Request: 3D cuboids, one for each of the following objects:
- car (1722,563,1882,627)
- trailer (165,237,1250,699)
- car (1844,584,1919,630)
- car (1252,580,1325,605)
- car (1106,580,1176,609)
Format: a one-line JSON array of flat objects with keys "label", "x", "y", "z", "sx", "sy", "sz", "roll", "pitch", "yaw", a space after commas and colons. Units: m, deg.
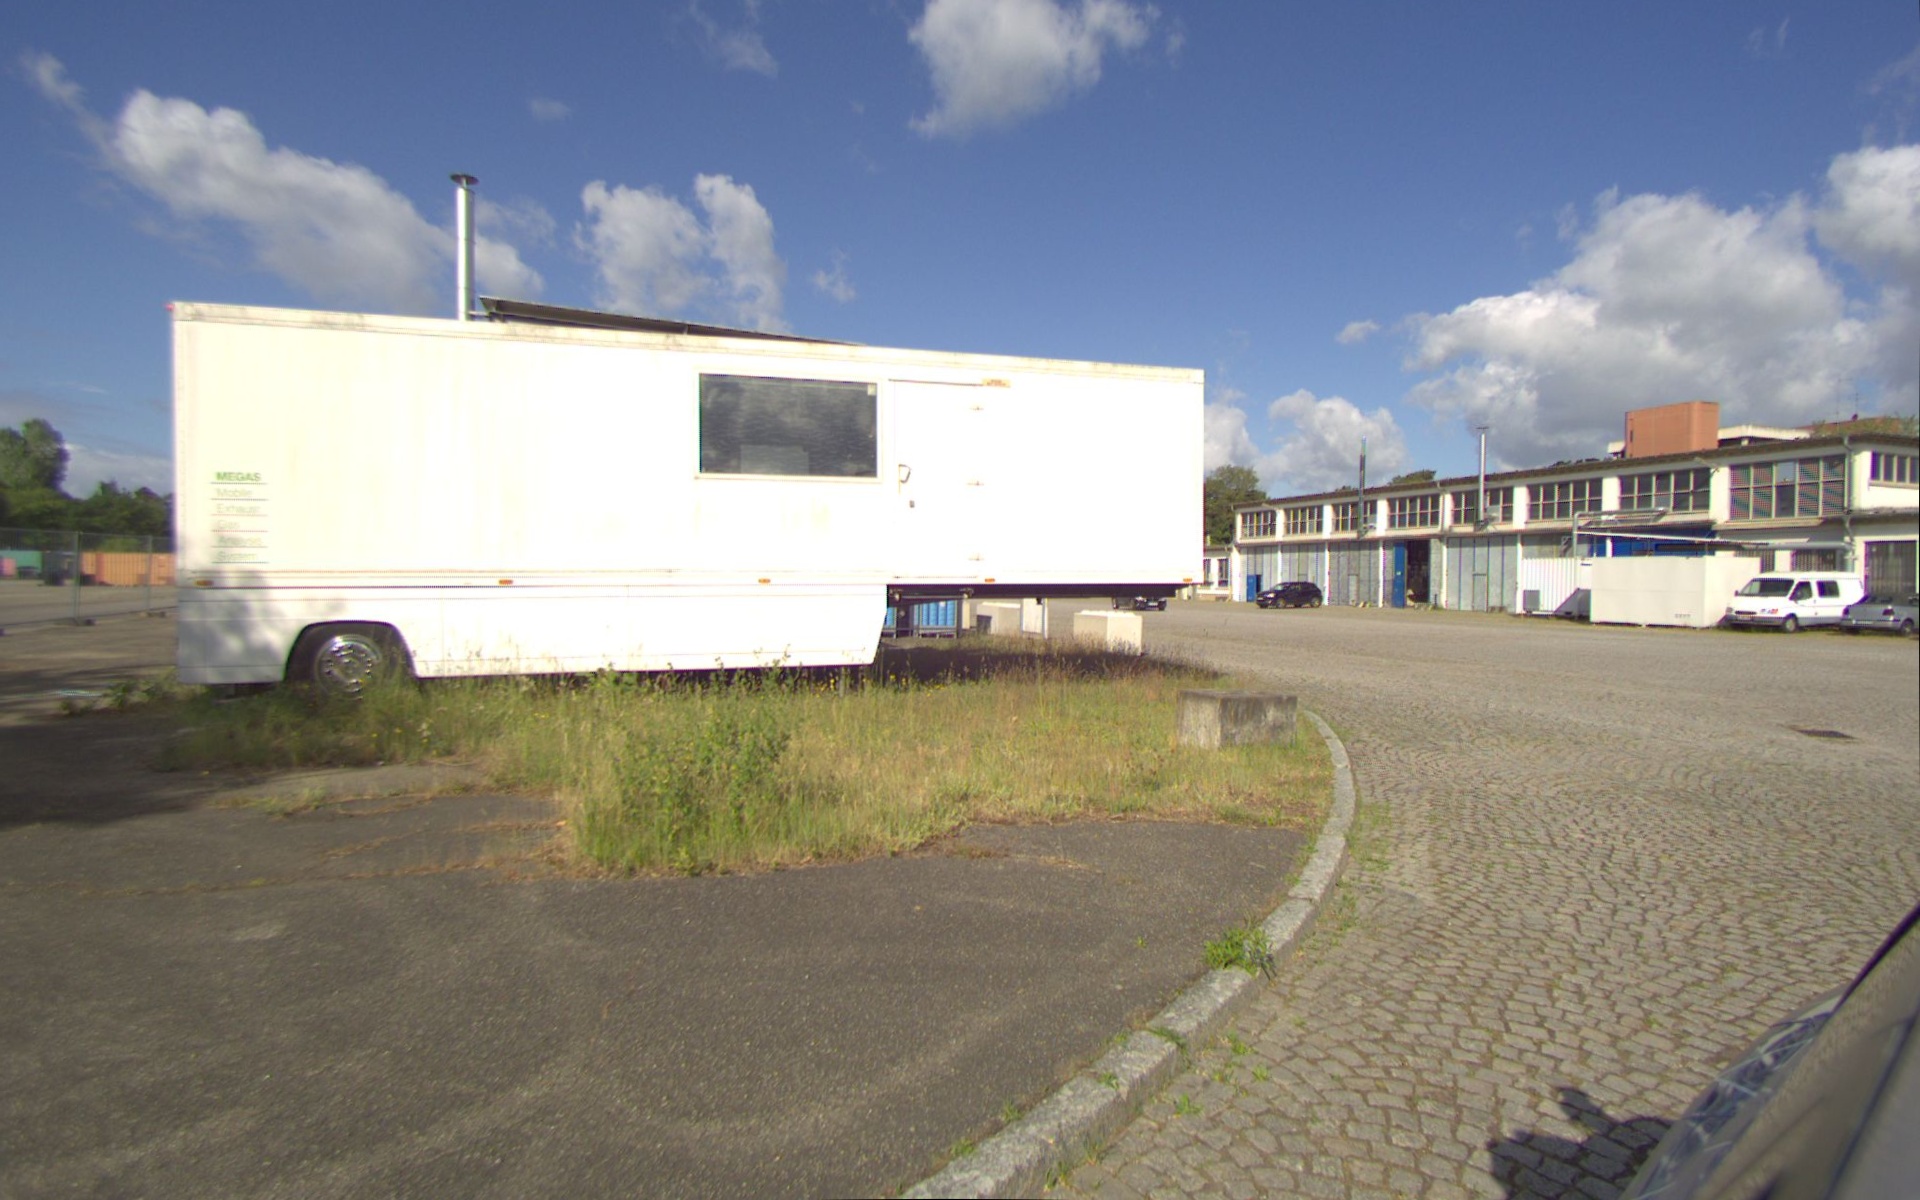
[{"label": "car", "x": 29.529, "y": -0.212, "z": 35.516, "sx": 4.704, "sy": 2.107, "sz": 2.014, "roll": -1, "pitch": 1, "yaw": -16}, {"label": "trailer", "x": -2.128, "y": -1.146, "z": 11.575, "sx": 10.656, "sy": 3.960, "sz": 2.787, "roll": 0, "pitch": 0, "yaw": -17}, {"label": "car", "x": 31.112, "y": 0.210, "z": 32.977, "sx": 3.751, "sy": 1.416, "sz": 1.696, "roll": 0, "pitch": 1, "yaw": -17}, {"label": "car", "x": 19.978, "y": -0.461, "z": 61.504, "sx": 3.991, "sy": 1.488, "sz": 1.744, "roll": -1, "pitch": 1, "yaw": -21}, {"label": "car", "x": 9.395, "y": -0.314, "z": 52.891, "sx": 1.704, "sy": 1.447, "sz": 4.084, "roll": 0, "pitch": 1, "yaw": -21}]
